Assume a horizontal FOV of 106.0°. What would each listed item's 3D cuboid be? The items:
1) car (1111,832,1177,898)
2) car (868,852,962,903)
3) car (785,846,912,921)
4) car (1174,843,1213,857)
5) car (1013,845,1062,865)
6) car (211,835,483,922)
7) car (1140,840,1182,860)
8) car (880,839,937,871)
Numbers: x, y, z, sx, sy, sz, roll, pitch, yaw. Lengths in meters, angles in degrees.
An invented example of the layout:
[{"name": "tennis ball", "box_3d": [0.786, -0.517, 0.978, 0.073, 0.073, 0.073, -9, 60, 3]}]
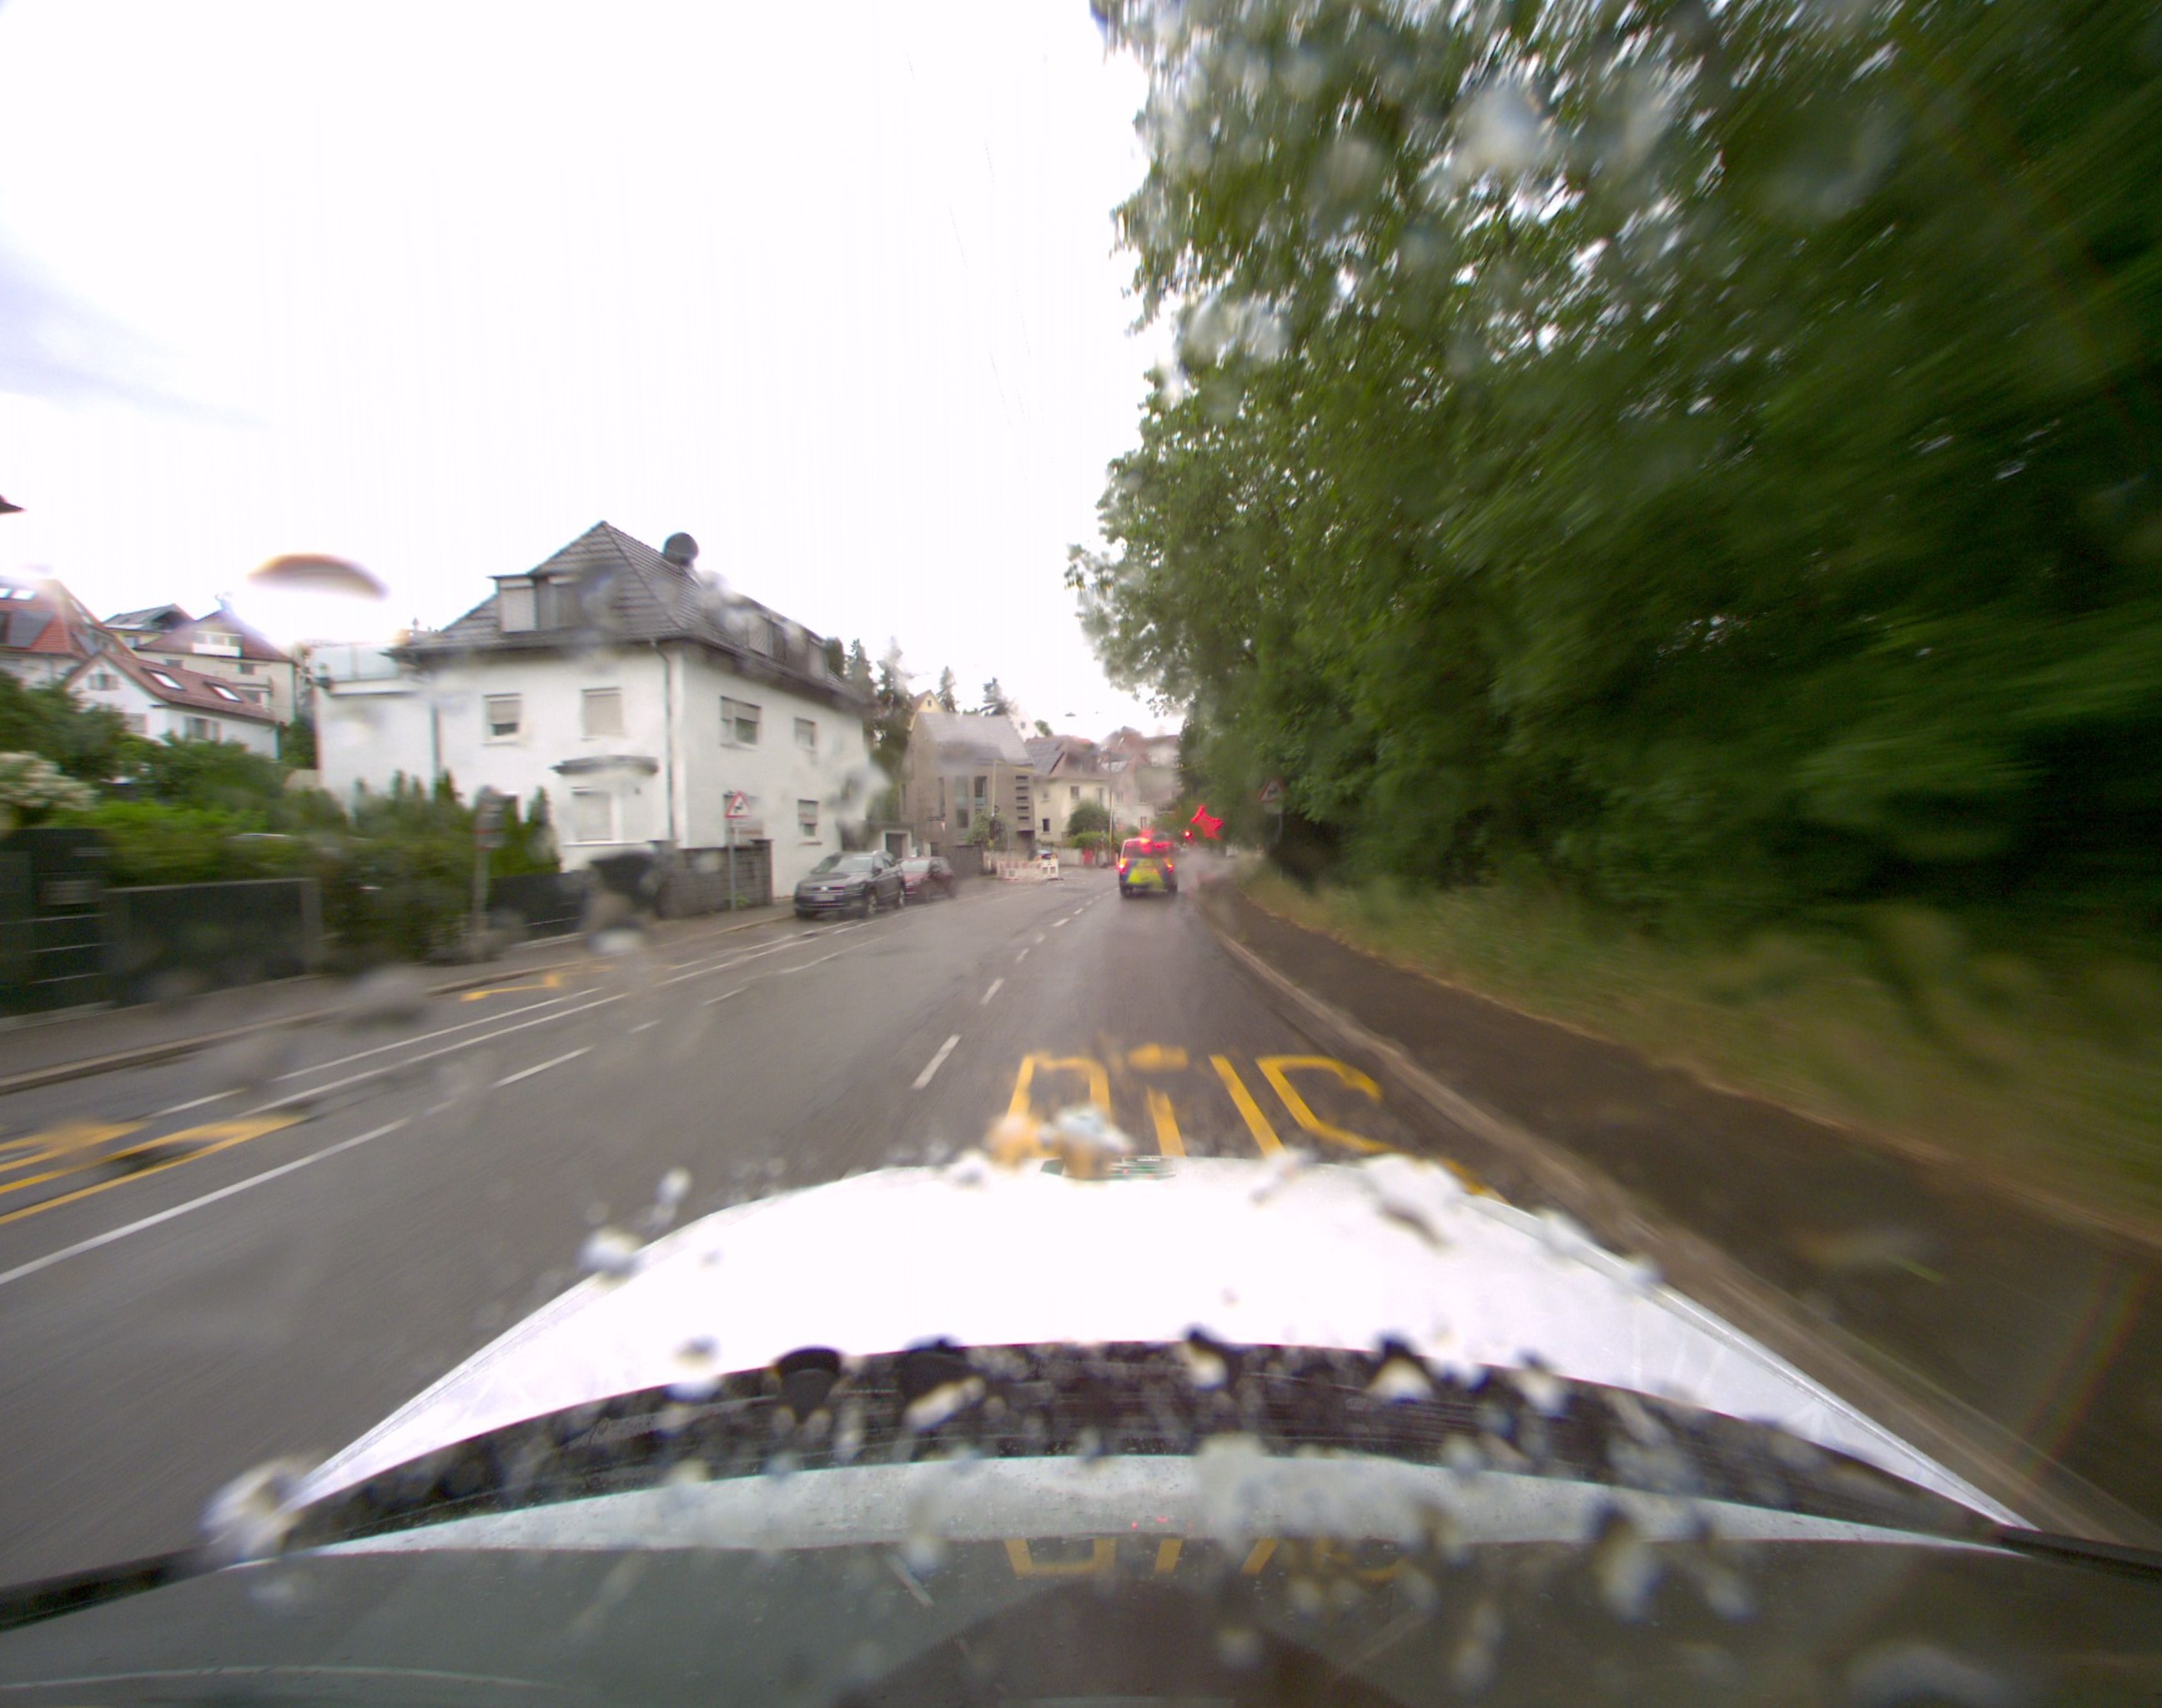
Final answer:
[{"name": "car", "box_3d": [2.229, 0.298, 28.569, 1.984, 2.013, 4.409, -4, 1, 5]}, {"name": "car", "box_3d": [-5.294, 0.717, 26.591, 1.607, 1.440, 4.241, -1, 1, 9]}, {"name": "car", "box_3d": [-5.867, 0.664, 21.151, 1.747, 1.658, 4.408, -3, 1, 3]}, {"name": "car", "box_3d": [13.002, -0.457, 94.171, 3.949, 1.486, 1.770, 1, -1, 31]}, {"name": "car", "box_3d": [-3.348, 0.068, 62.485, 1.848, 1.443, 3.955, -1, 1, -37]}, {"name": "car", "box_3d": [-14.803, 0.480, 16.578, 3.970, 1.596, 1.736, 1, -1, 3]}, {"name": "car", "box_3d": [8.439, -0.432, 85.561, 3.948, 2.013, 1.842, 0, 0, 31]}, {"name": "car", "box_3d": [-8.615, 0.025, 40.939, 1.767, 1.464, 3.622, -2, 0, 5]}]
